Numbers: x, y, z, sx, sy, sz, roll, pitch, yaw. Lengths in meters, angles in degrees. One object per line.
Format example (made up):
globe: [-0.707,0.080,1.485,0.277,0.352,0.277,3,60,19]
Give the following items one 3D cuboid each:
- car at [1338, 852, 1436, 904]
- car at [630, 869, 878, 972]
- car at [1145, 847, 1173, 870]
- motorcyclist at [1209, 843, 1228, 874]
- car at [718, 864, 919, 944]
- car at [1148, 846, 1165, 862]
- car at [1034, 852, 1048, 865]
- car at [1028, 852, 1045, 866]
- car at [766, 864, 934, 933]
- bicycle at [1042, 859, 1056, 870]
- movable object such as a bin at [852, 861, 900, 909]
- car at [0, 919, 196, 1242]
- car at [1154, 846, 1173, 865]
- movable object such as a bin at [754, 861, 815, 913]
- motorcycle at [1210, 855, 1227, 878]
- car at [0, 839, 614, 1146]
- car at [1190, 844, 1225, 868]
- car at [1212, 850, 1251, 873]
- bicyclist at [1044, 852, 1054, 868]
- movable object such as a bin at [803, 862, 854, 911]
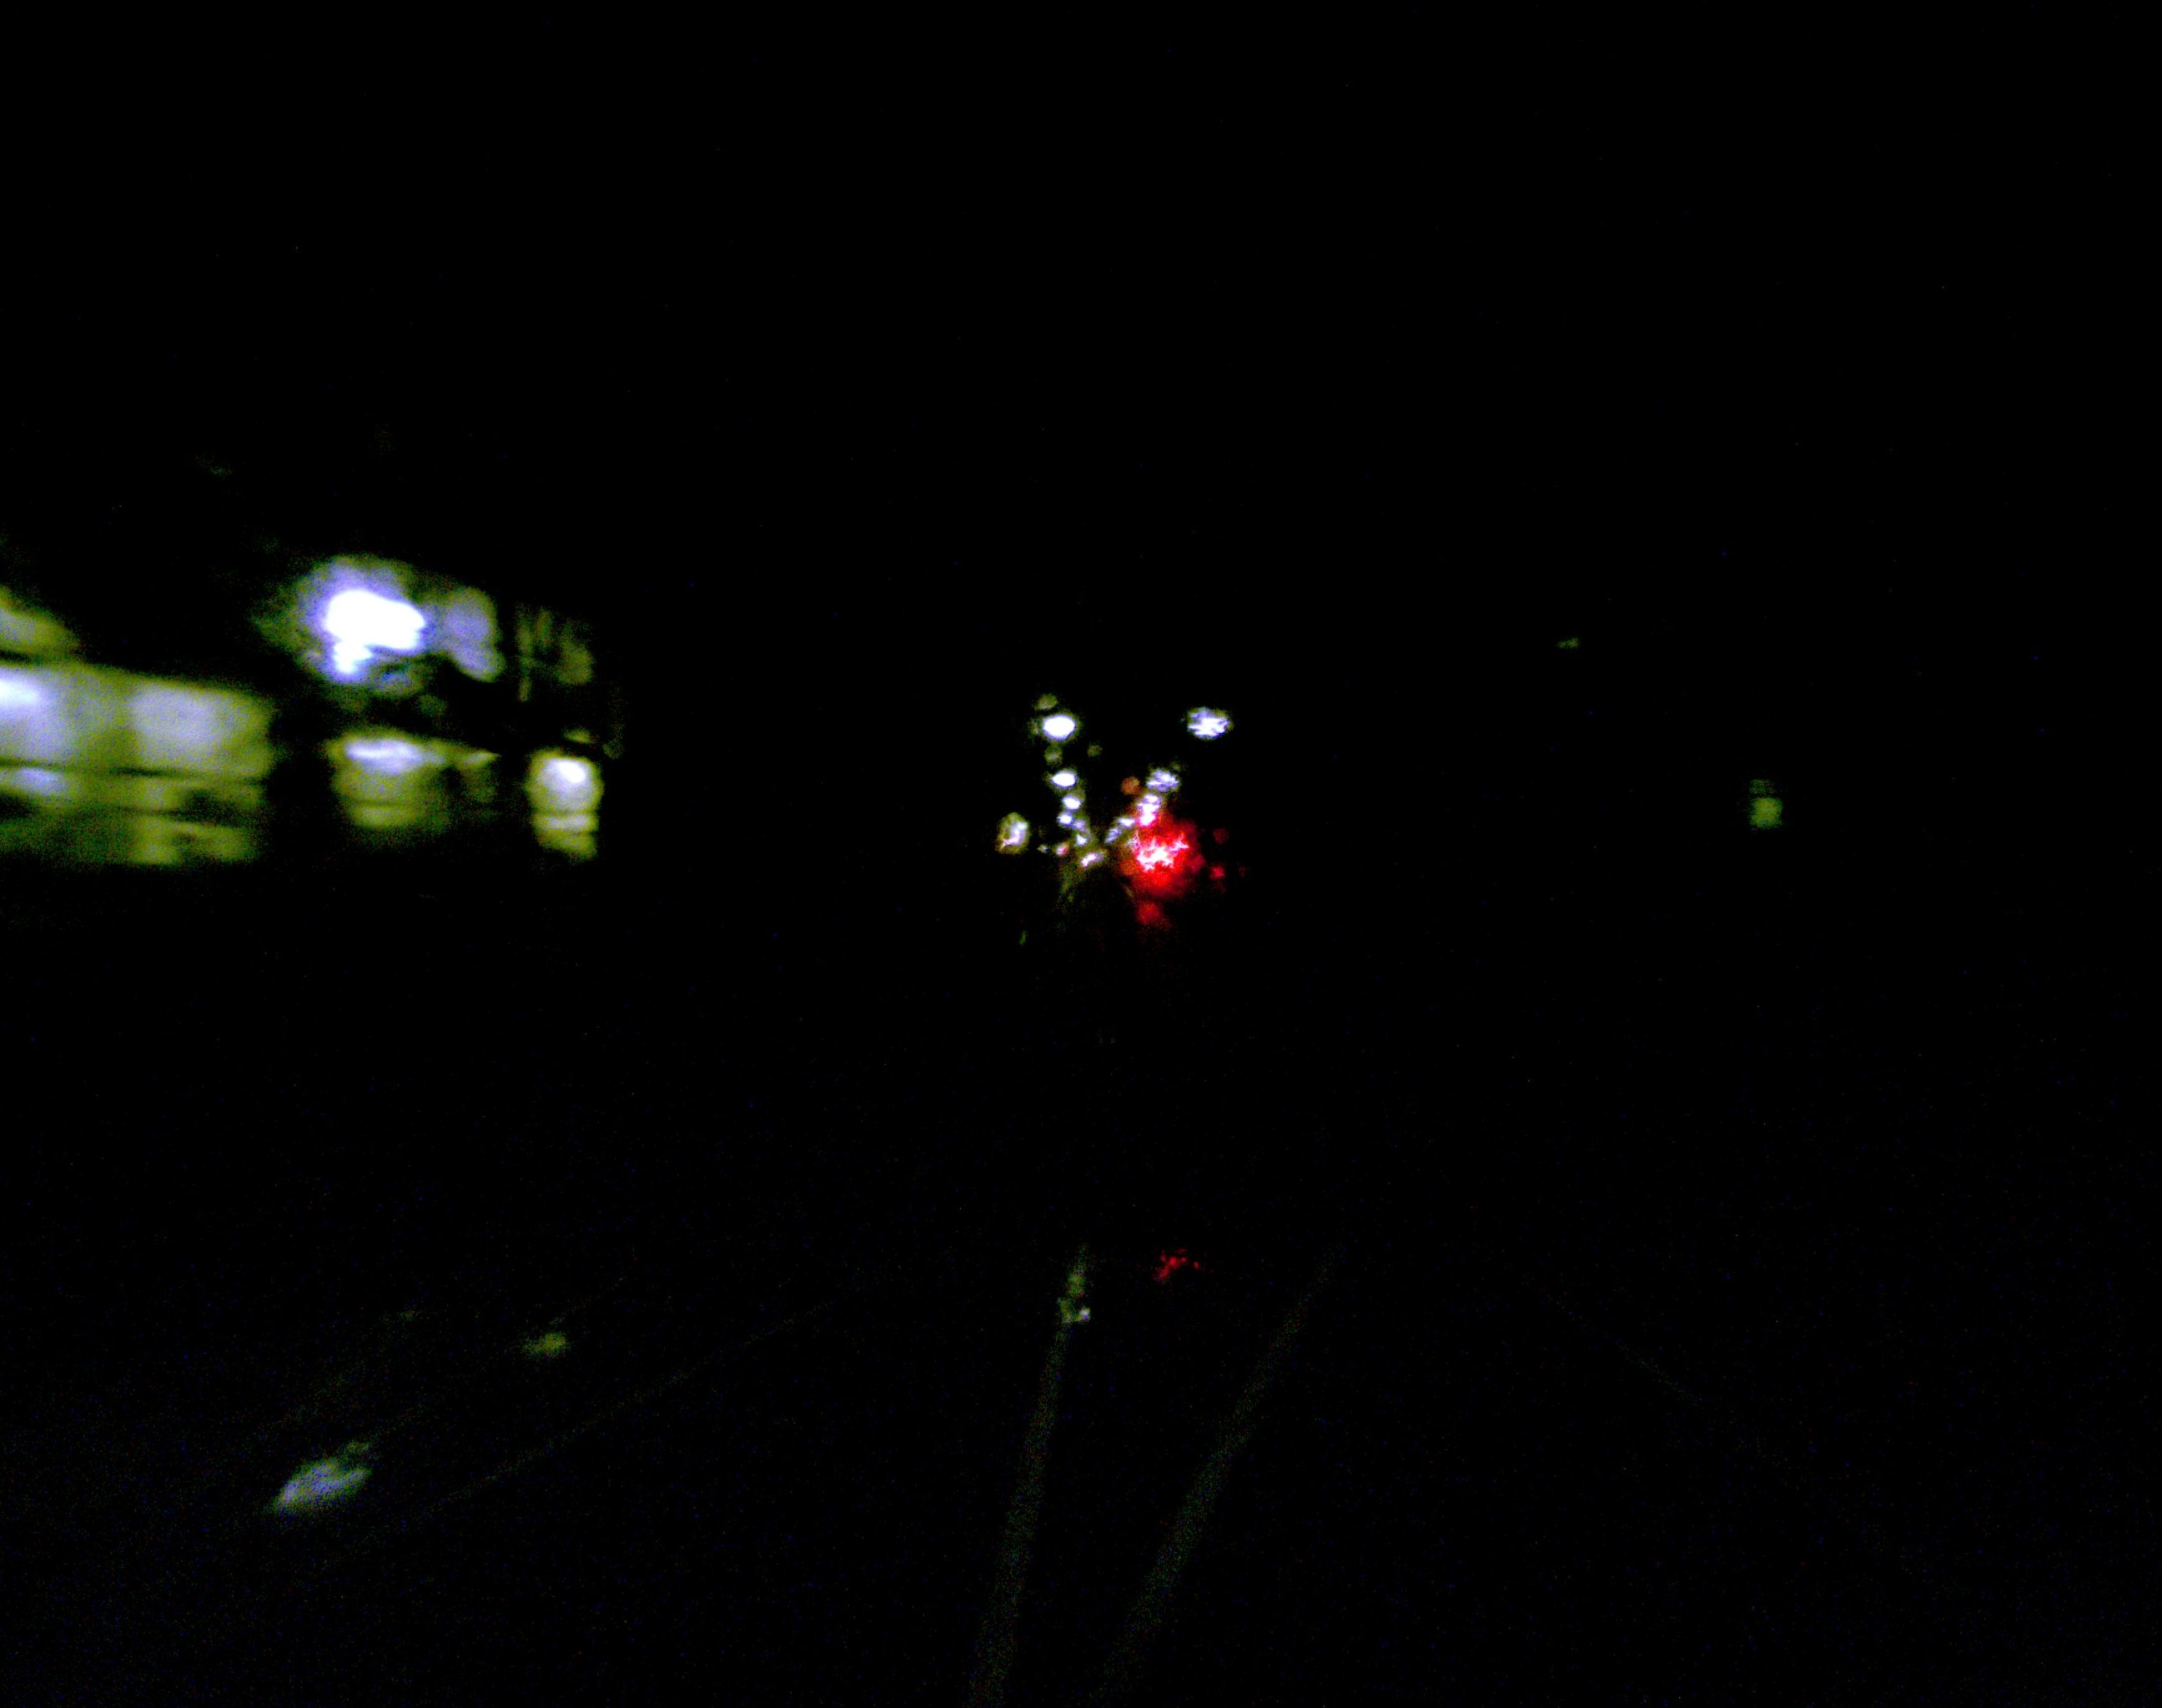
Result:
car: [9.941,0.729,25.018,1.672,1.379,4.000,-3,1,2]
car: [-5.940,1.115,14.081,3.842,1.430,1.596,-4,1,-43]
car: [6.223,0.339,60.903,1.943,1.805,4.385,1,0,2]
motorcyclist: [8.043,0.248,44.426,0.920,1.730,1.136,4,2,7]
car: [-5.848,1.030,17.209,1.802,1.480,3.863,0,1,43]
car: [9.033,-0.037,90.728,1.899,1.859,4.537,0,1,4]
car: [-4.979,0.545,94.647,1.652,1.516,3.579,3,0,-3]
car: [-5.233,0.564,89.174,1.649,1.433,4.055,3,0,0]
car: [-6.036,1.099,20.062,3.797,1.450,1.765,-4,1,-41]
bicycle: [-3.142,1.012,74.514,0.571,0.964,1.783,-2,2,26]
movable object such as a bin: [-6.364,0.950,23.583,1.353,1.399,1.025,-1,1,-19]
car: [-6.686,1.159,3.292,3.343,1.377,1.627,-3,1,-34]
car: [8.453,0.186,77.729,1.930,1.868,4.639,1,0,6]
movable object such as a bin: [-8.430,0.916,21.675,1.025,1.399,1.418,-1,1,7]
motorcycle: [8.026,0.708,44.399,0.818,1.223,2.001,4,2,7]
car: [-6.553,0.907,6.346,4.181,1.828,1.958,-4,1,-40]
car: [10.676,0.203,64.313,1.998,1.815,5.309,-4,0,0]
car: [10.419,0.512,52.739,1.770,1.398,4.140,-3,1,-1]
bicyclist: [-3.161,0.552,74.502,0.571,1.539,0.817,-2,2,26]
movable object such as a bin: [-7.672,0.972,23.099,1.413,1.399,1.025,-1,1,-19]
